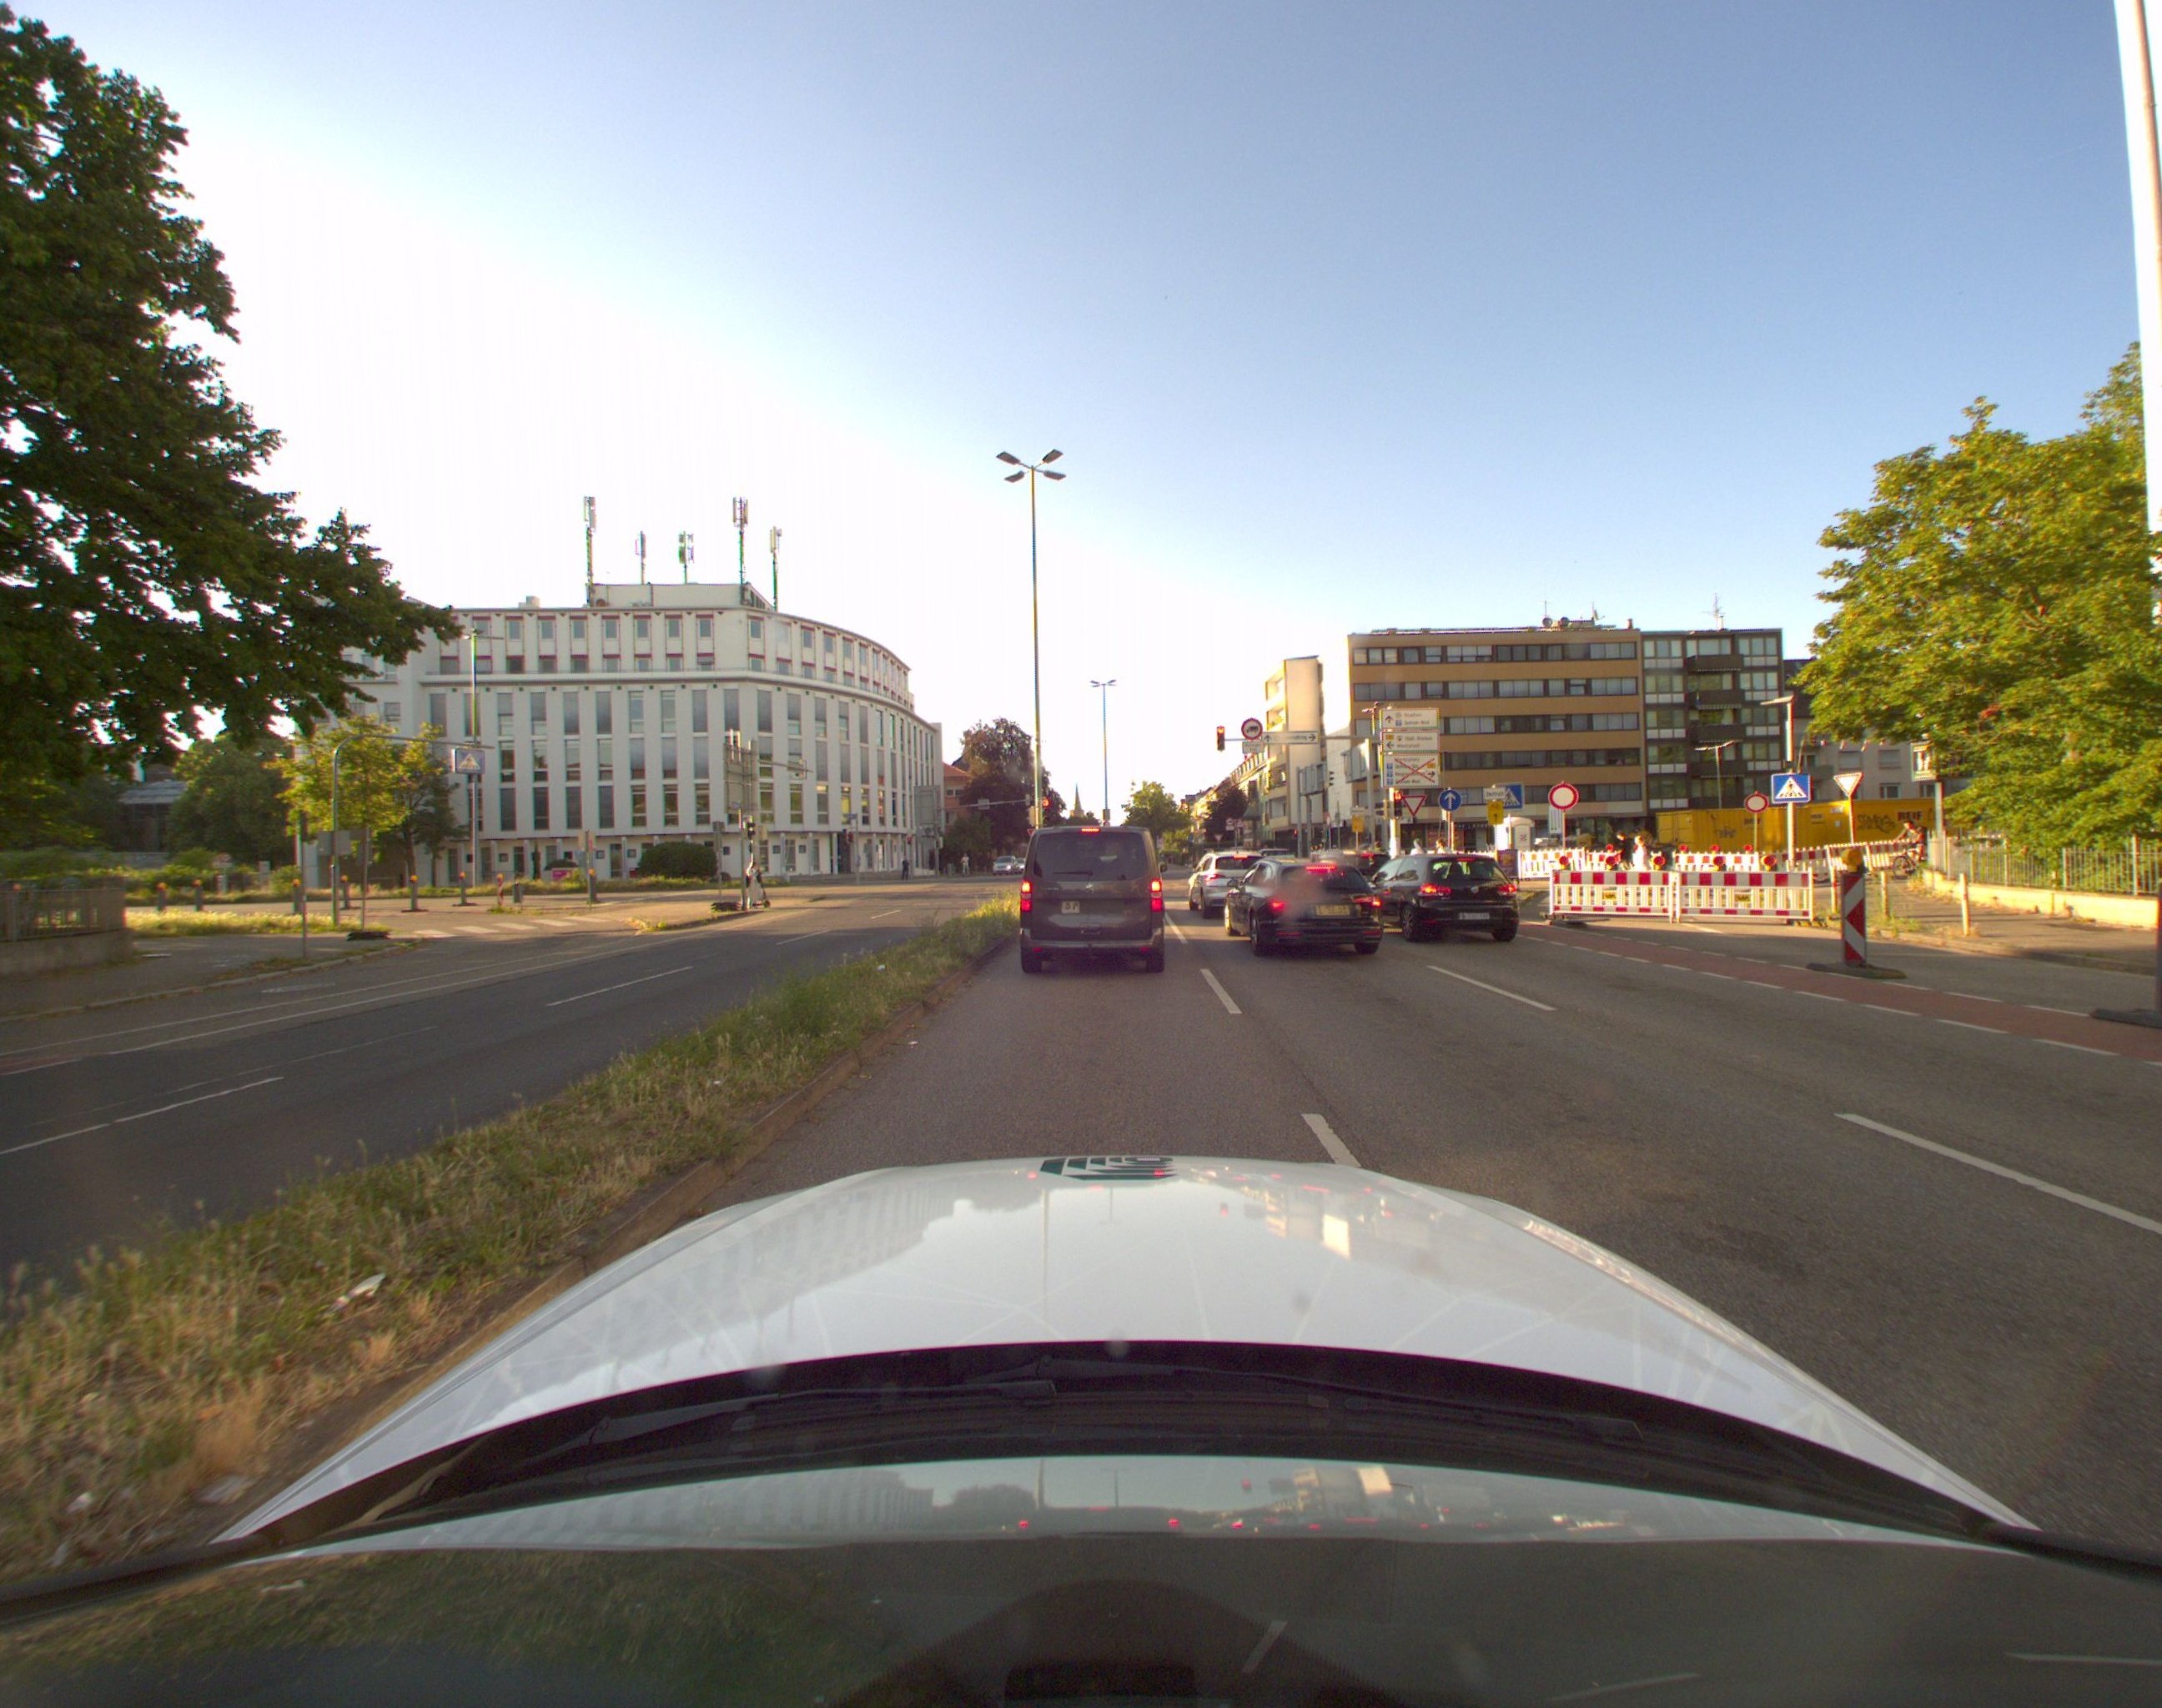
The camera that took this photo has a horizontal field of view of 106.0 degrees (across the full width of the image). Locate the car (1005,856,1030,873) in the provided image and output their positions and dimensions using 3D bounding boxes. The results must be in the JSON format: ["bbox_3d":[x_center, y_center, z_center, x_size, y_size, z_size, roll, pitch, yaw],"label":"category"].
[{"bbox_3d":[-5.740,0.911,73.465,1.850,1.420,4.000,-2,0,1],"label":"car"}]

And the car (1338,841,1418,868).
[{"bbox_3d":[18.577,0.009,50.997,4.332,1.549,1.784,-2,0,-6],"label":"car"}]

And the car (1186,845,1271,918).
[{"bbox_3d":[3.509,0.614,19.923,1.523,1.613,3.747,0,0,2],"label":"car"}]

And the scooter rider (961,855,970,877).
[{"bbox_3d":[-9.043,0.903,63.786,0.479,1.697,0.636,-2,0,2],"label":"scooter rider"}]

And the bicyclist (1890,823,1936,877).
[{"bbox_3d":[24.767,-0.123,24.248,0.812,1.589,0.617,-1,1,-13],"label":"bicyclist"}]

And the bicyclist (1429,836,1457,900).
[{"bbox_3d":[8.894,0.337,20.014,0.439,1.525,0.483,-2,0,2],"label":"bicyclist"}]

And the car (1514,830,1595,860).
[{"bbox_3d":[31.461,-0.579,54.204,4.199,1.817,2.001,-2,0,2],"label":"car"}]

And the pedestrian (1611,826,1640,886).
[{"bbox_3d":[16.807,0.054,25.141,0.573,1.834,0.483,-2,0,-29],"label":"pedestrian"}]

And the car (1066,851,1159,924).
[{"bbox_3d":[0.754,0.733,19.759,1.986,1.530,4.002,-2,0,2],"label":"car"}]

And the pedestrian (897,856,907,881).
[{"bbox_3d":[-12.387,0.990,56.463,0.626,1.722,0.669,-2,0,-12],"label":"pedestrian"}]

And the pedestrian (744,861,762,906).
[{"bbox_3d":[-11.278,1.008,27.971,0.474,1.505,0.334,-2,0,-10],"label":"pedestrian"}]

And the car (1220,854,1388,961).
[{"bbox_3d":[3.363,0.720,13.063,1.675,1.421,4.216,0,0,2],"label":"car"}]

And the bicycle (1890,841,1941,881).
[{"bbox_3d":[24.848,0.199,24.251,1.497,1.161,0.372,0,1,-15],"label":"bicycle"}]

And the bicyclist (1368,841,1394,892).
[{"bbox_3d":[9.253,0.378,25.103,0.511,1.525,0.726,-2,0,2],"label":"bicyclist"}]

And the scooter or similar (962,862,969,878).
[{"bbox_3d":[-9.036,1.263,63.685,0.284,1.188,1.170,-2,0,2],"label":"scooter or similar"}]

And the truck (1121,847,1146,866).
[{"bbox_3d":[5.879,0.280,91.038,2.124,2.086,4.624,-2,0,-4],"label":"truck"}]

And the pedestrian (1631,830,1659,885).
[{"bbox_3d":[17.570,0.109,25.377,0.605,1.671,0.451,-2,0,-25],"label":"pedestrian"}]

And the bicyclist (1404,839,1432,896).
[{"bbox_3d":[9.172,0.354,22.167,0.439,1.525,0.726,-2,0,2],"label":"bicyclist"}]

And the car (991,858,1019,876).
[{"bbox_3d":[-6.267,1.046,67.679,1.850,1.420,4.000,-2,0,1],"label":"car"}]

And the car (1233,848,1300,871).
[{"bbox_3d":[12.338,0.360,54.220,3.982,1.420,1.784,-2,0,-6],"label":"car"}]

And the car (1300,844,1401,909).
[{"bbox_3d":[6.643,0.506,20.409,1.499,1.449,3.306,-2,0,2],"label":"car"}]

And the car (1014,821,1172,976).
[{"bbox_3d":[0.228,0.533,12.129,1.899,1.863,4.529,0,0,2],"label":"car"}]

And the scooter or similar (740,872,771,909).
[{"bbox_3d":[-11.165,1.236,27.917,0.893,1.234,0.370,-2,0,-10],"label":"scooter or similar"}]

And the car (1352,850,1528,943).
[{"bbox_3d":[6.246,0.659,14.632,1.627,1.449,3.747,0,0,2],"label":"car"}]
